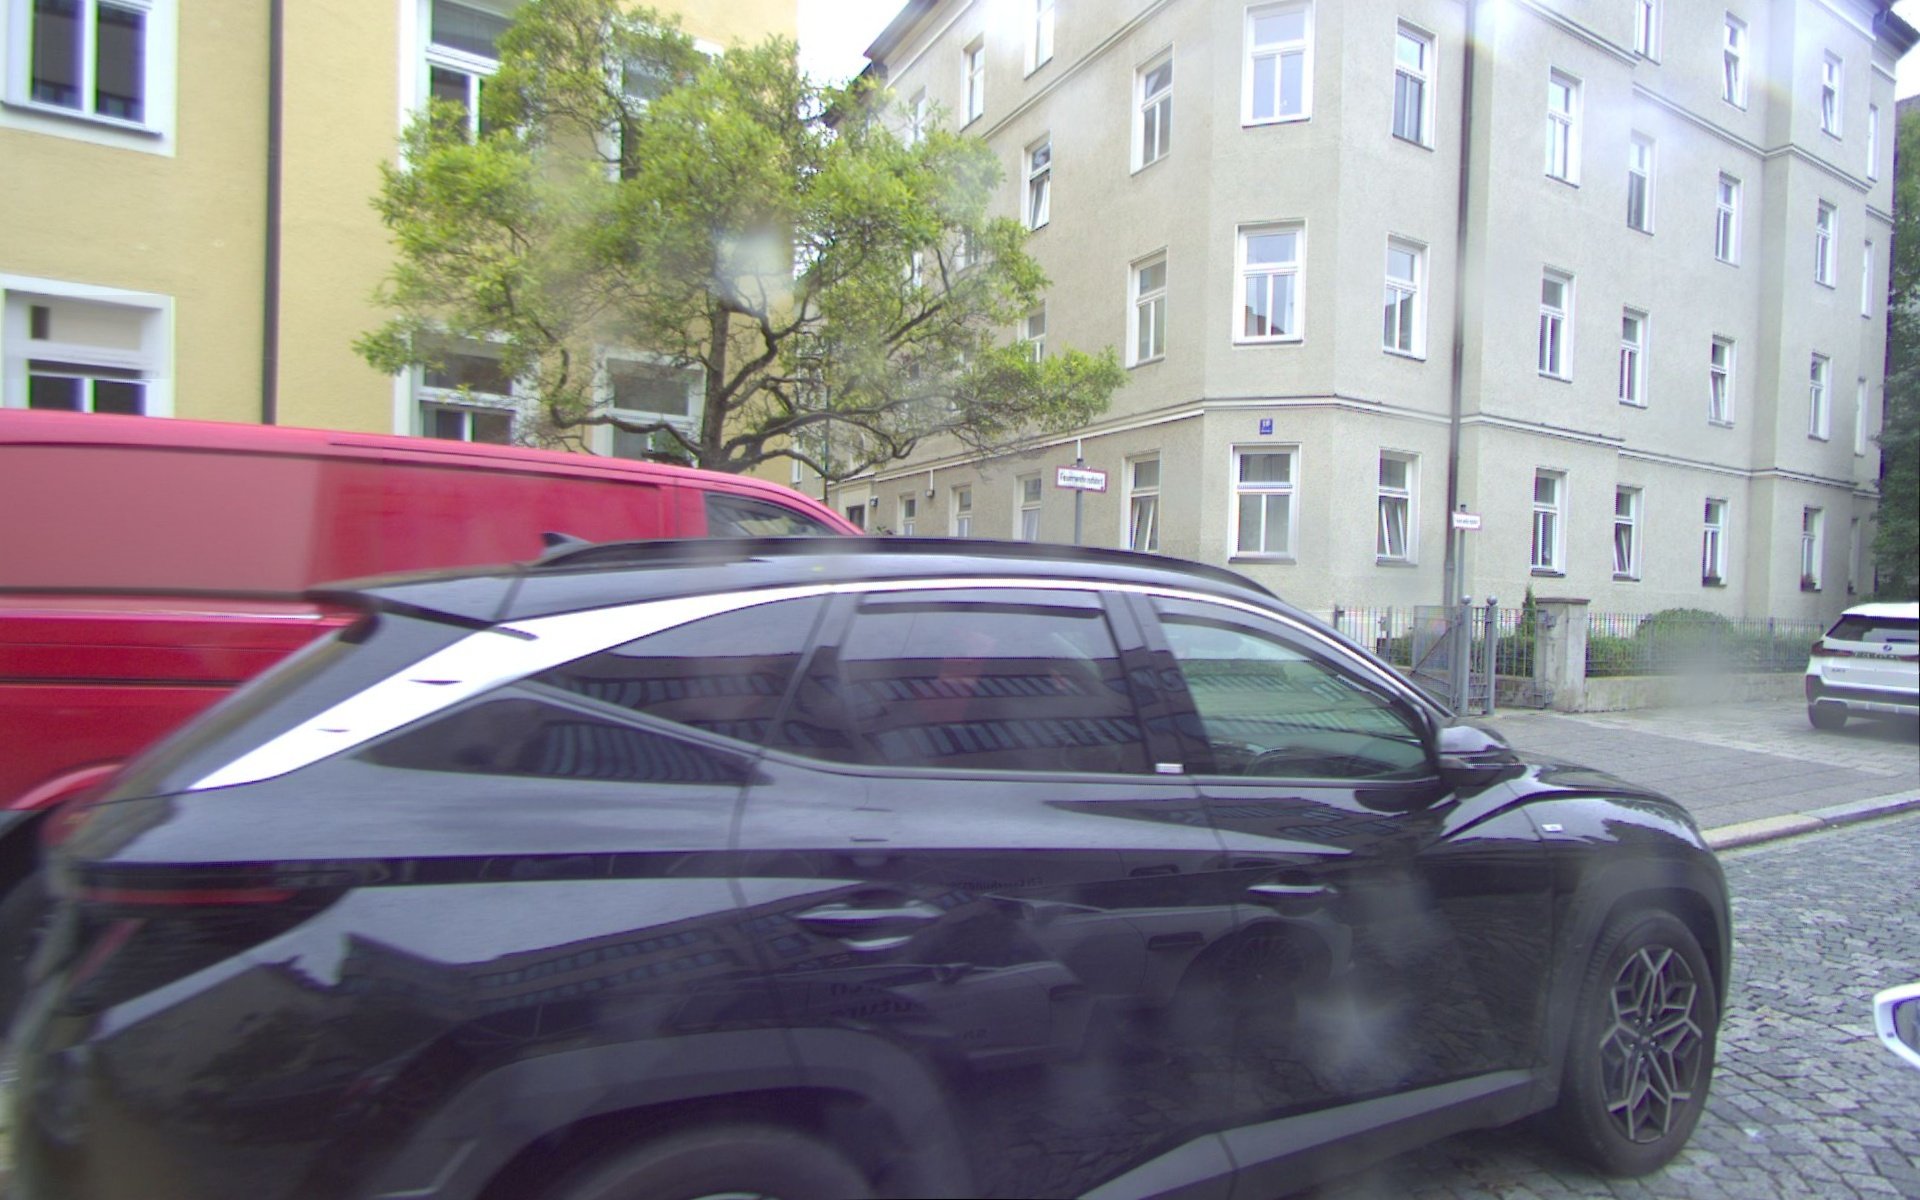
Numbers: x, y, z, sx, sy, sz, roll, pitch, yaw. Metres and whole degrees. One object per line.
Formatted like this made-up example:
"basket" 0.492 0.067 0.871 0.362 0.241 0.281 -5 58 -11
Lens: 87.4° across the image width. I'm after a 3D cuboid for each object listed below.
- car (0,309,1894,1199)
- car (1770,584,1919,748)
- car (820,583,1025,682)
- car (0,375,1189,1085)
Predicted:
"car" 0.390 0.677 2.835 4.698 1.757 1.909 1 -4 -29
"car" 12.520 0.785 12.739 4.603 1.758 1.935 1 3 -31
"car" -0.762 0.490 16.762 1.811 1.442 4.051 2 -1 -28
"car" -1.644 0.356 4.513 5.269 1.957 1.984 1 2 -31
